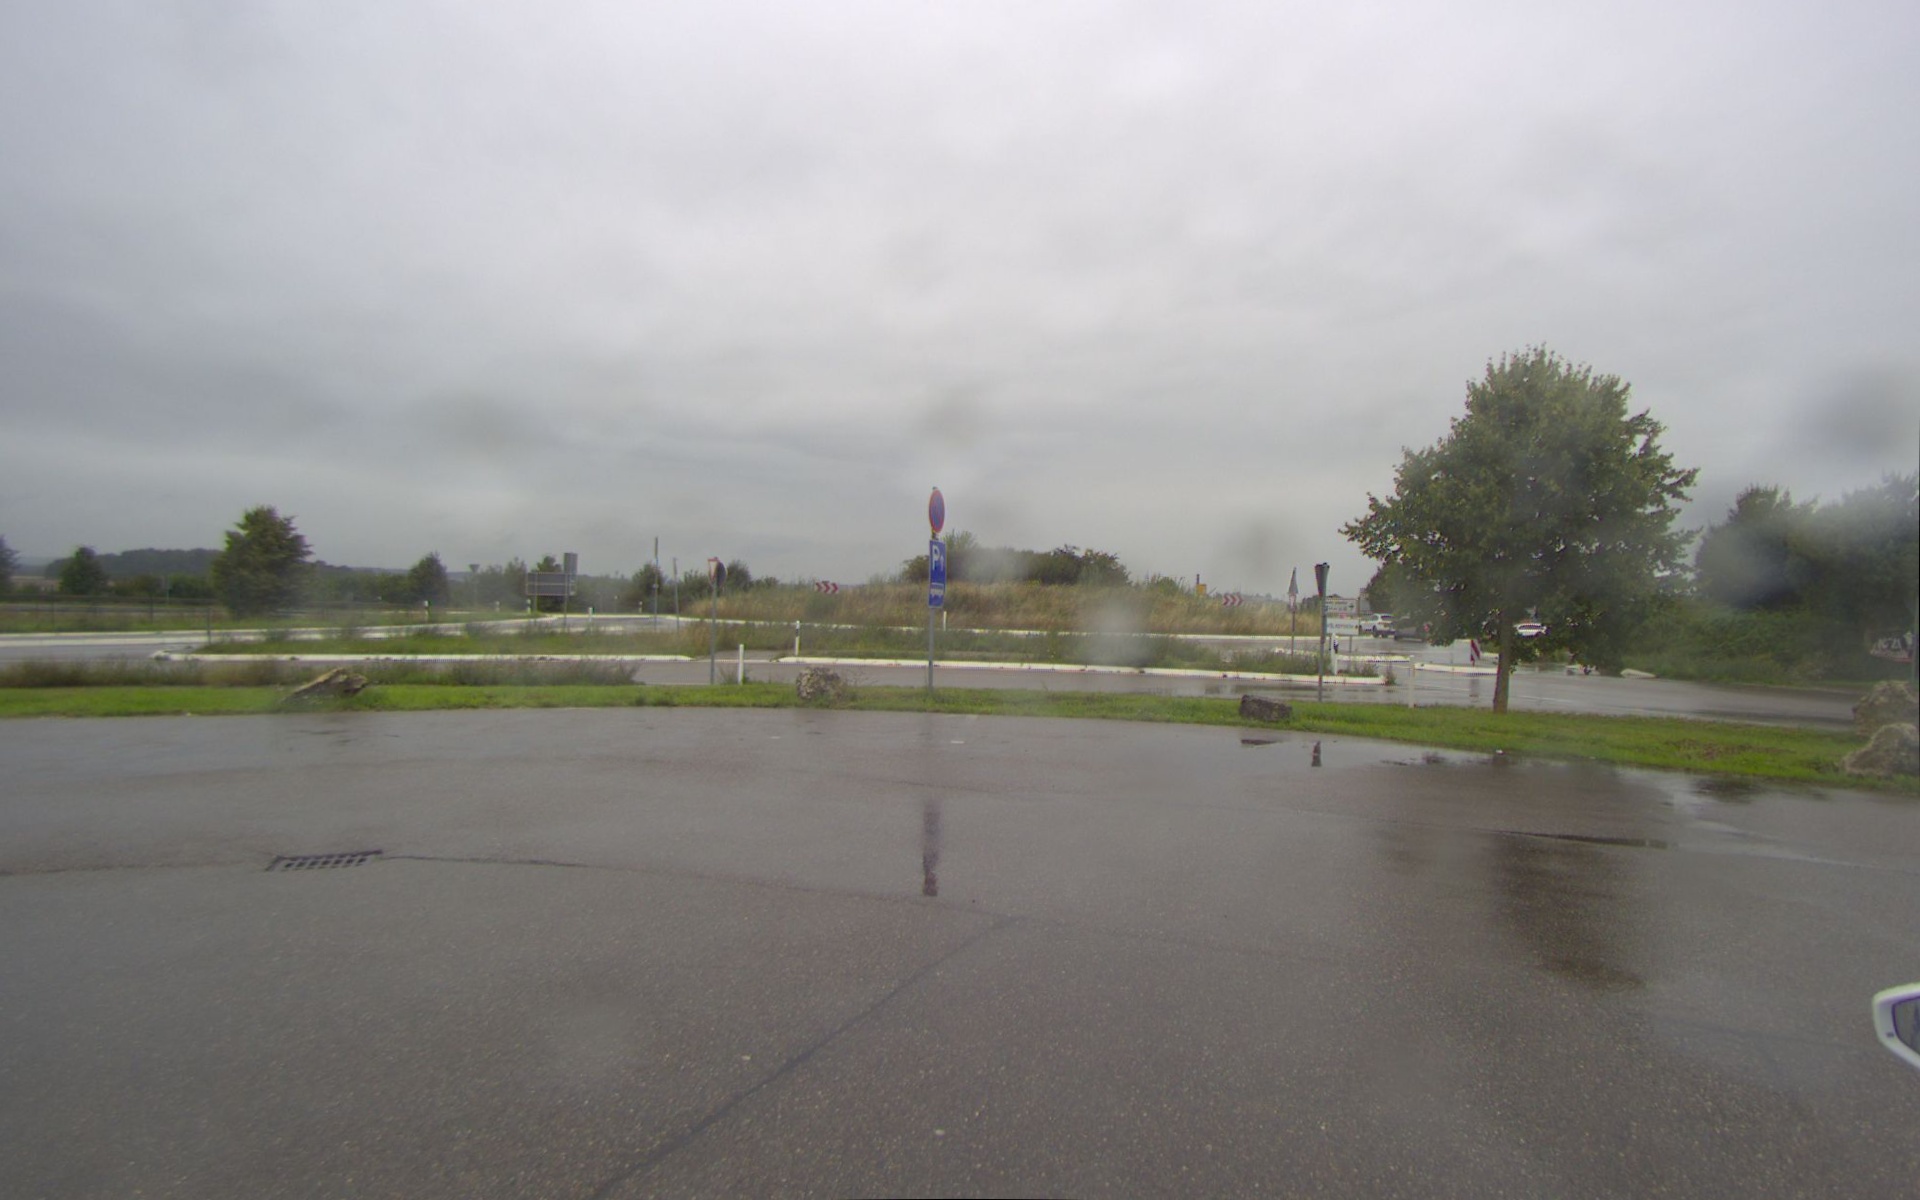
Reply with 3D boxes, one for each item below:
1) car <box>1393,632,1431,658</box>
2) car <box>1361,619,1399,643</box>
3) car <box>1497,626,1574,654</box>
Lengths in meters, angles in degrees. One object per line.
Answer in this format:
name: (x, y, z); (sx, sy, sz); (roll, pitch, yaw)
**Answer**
car: (26.921, 2.659, 59.916); (1.660, 1.343, 4.044); (1, 0, 19)
car: (28.911, 2.099, 69.230); (1.381, 1.528, 3.585); (1, -1, 5)
car: (39.660, 2.768, 69.278); (4.278, 1.782, 1.750); (1, -1, 7)
